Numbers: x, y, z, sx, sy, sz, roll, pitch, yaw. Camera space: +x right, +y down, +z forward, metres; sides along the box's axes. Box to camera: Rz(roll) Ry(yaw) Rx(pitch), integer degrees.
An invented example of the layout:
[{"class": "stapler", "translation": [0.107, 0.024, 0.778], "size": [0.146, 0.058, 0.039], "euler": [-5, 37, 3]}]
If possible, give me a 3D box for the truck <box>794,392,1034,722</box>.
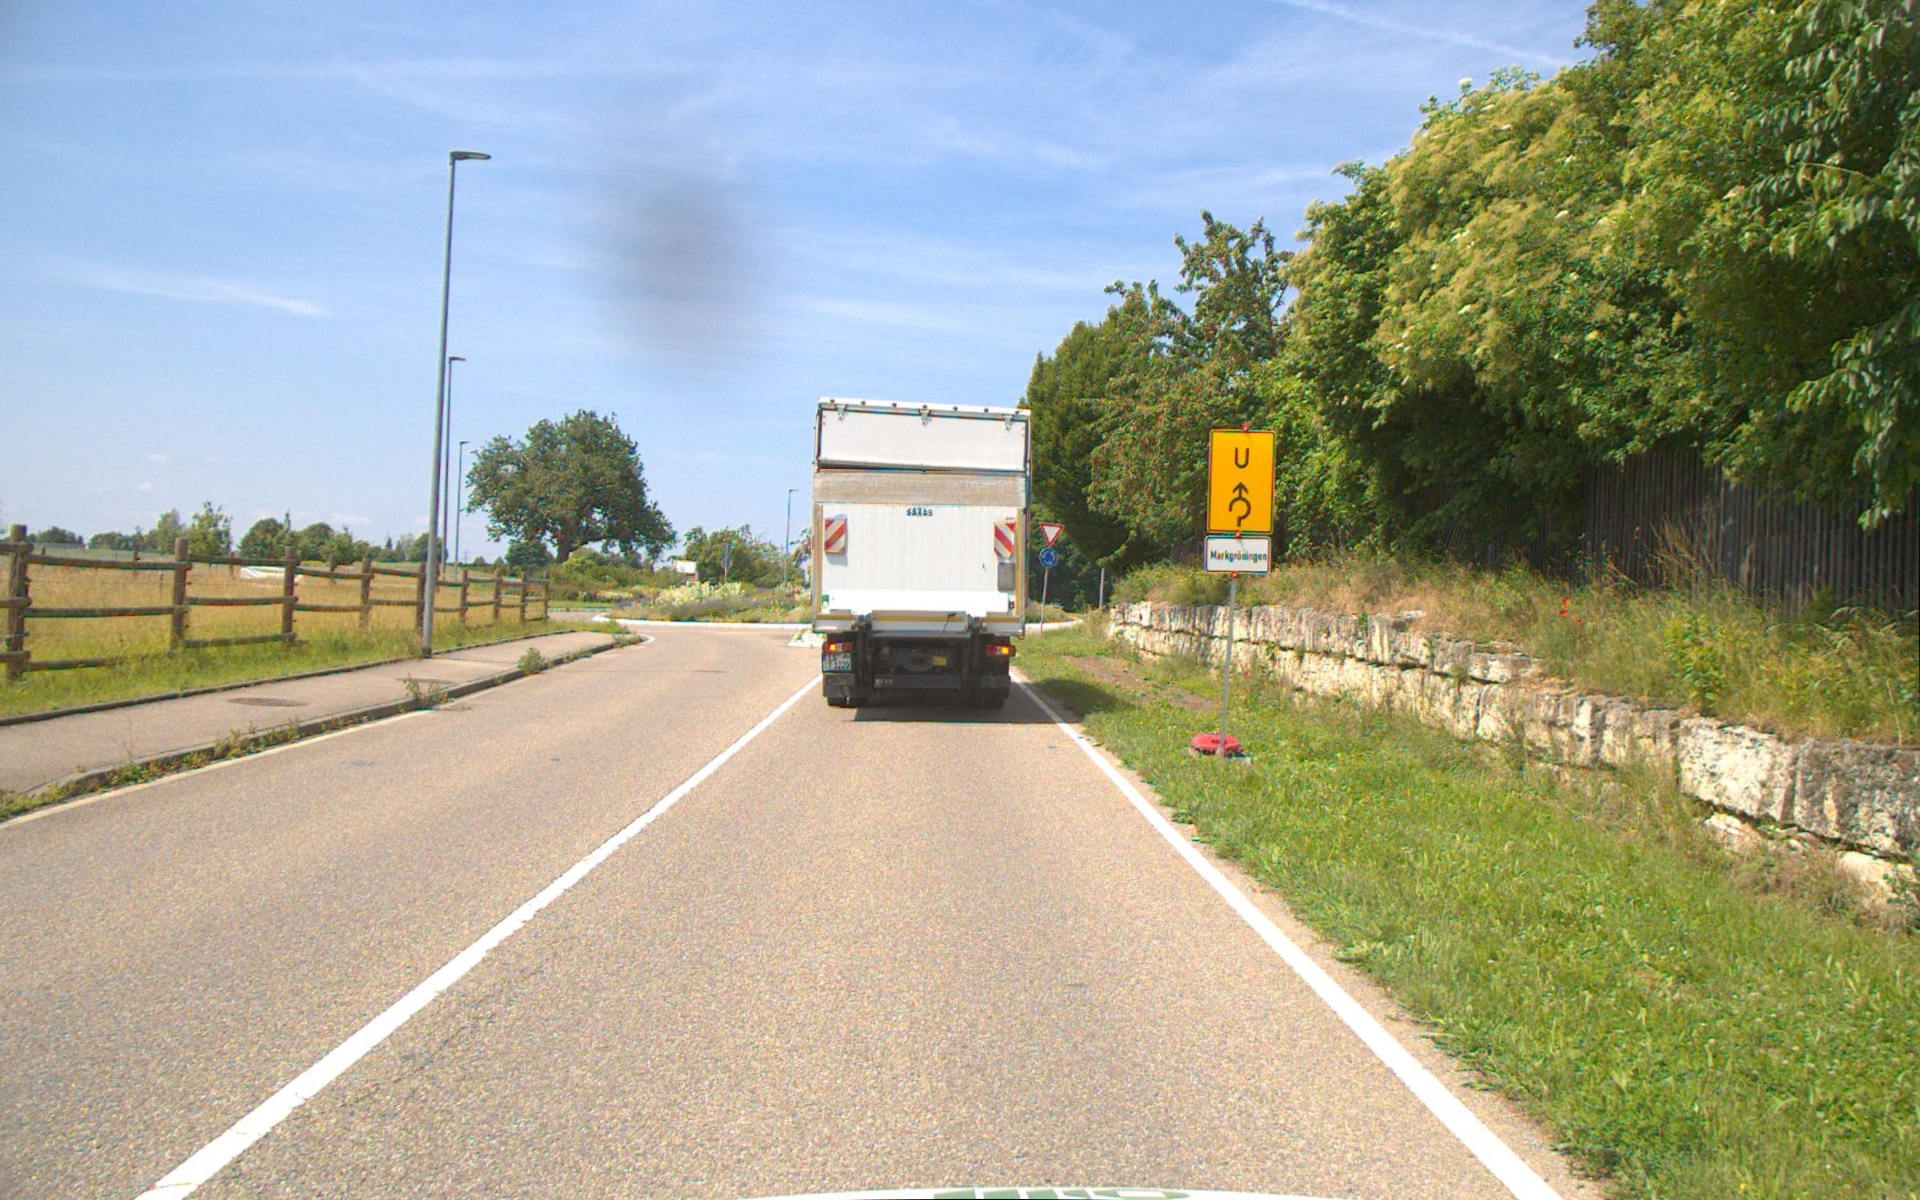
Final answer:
[{"class": "truck", "translation": [-0.727, -0.515, 23.516], "size": [2.711, 3.735, 9.378], "euler": [0, 0, -3]}]
